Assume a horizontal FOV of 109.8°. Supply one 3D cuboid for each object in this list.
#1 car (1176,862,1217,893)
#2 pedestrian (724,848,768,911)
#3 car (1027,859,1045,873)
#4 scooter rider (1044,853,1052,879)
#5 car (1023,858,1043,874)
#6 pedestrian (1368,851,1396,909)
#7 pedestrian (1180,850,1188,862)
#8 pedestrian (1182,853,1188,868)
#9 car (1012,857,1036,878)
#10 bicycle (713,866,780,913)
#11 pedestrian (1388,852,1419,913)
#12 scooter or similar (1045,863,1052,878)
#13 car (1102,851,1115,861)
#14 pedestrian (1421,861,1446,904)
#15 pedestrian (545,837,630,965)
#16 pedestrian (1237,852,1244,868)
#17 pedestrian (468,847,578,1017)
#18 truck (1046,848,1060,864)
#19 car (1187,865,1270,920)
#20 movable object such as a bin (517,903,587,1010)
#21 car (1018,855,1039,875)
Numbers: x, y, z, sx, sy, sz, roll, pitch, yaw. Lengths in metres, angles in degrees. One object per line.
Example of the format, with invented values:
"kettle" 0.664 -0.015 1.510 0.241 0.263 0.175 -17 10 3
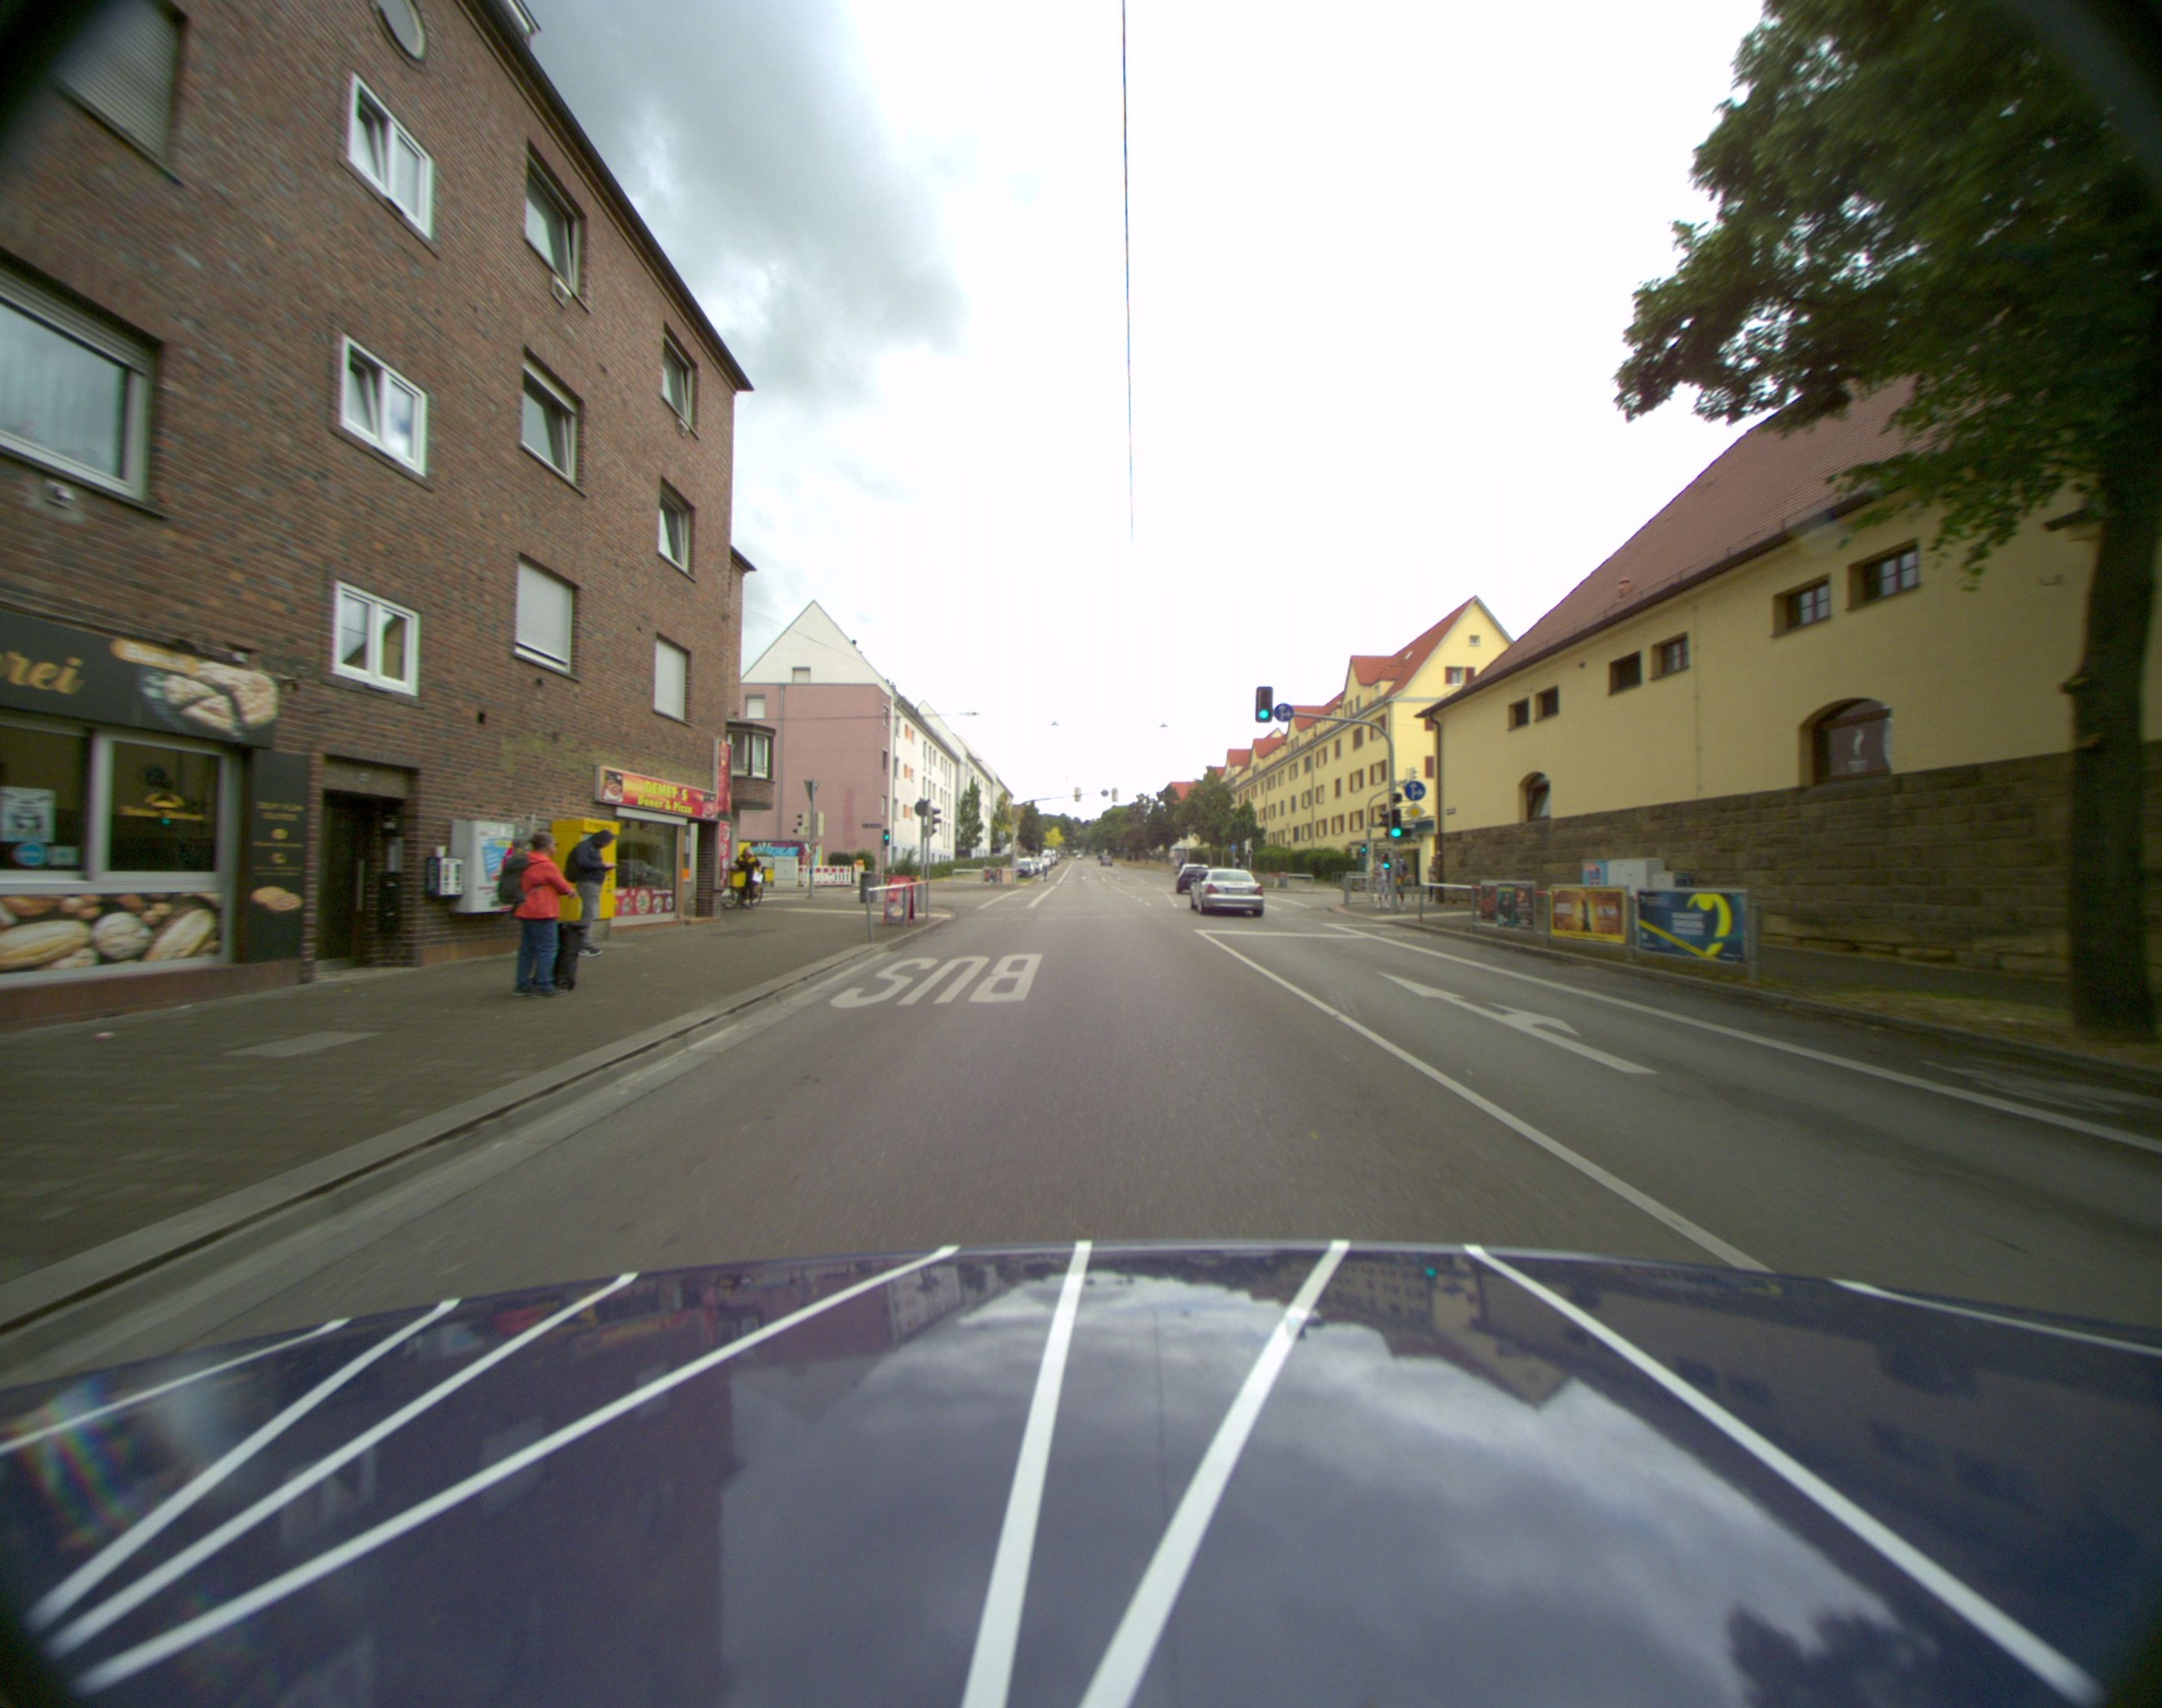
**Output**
"car" 5.584 1.116 37.235 1.706 1.406 4.194 1 0 5
"pedestrian" -9.053 0.680 20.561 0.790 1.646 0.772 3 0 1
"car" -4.823 1.231 81.408 1.734 1.405 4.499 -1 0 -1
"scooter rider" -2.501 0.895 57.821 0.627 2.002 0.757 0 0 -1
"car" -4.767 1.145 75.862 1.750 1.459 4.948 -1 0 -1
"pedestrian" 9.393 0.801 23.722 0.565 1.766 0.717 0 0 0
"pedestrian" 12.670 0.277 93.639 0.901 1.501 0.806 -1 0 1
"pedestrian" 12.444 0.756 91.142 0.598 1.717 0.861 0 1 3
"car" -4.761 1.072 63.672 1.739 1.579 4.571 -1 1 -1
"bicycle" -9.142 0.934 20.892 0.761 1.186 2.391 0 0 0
"pedestrian" 9.533 0.831 22.485 0.565 1.766 0.842 0 0 0
"scooter or similar" -2.470 1.238 57.779 0.492 1.156 2.074 0 0 -1
"car" 4.373 0.331 119.874 1.761 1.464 4.305 3 0 -1
"pedestrian" 13.024 1.040 28.086 0.565 1.557 0.842 0 0 5
"pedestrian" -6.921 0.636 10.695 0.648 1.739 0.778 0 0 5
"pedestrian" 16.282 0.593 77.630 0.642 1.609 0.618 0 0 -1
"pedestrian" -5.609 0.746 7.662 0.565 1.627 0.682 0 0 20
"truck" -4.515 0.313 122.896 2.058 2.550 5.689 0 0 -1
"car" 4.183 1.058 22.160 1.689 1.268 4.095 3 1 2
"movable object such as a bin" -5.553 1.059 7.983 0.453 1.050 0.411 0 1 20
"car" -4.716 0.951 68.797 1.663 1.706 4.551 -1 0 0
